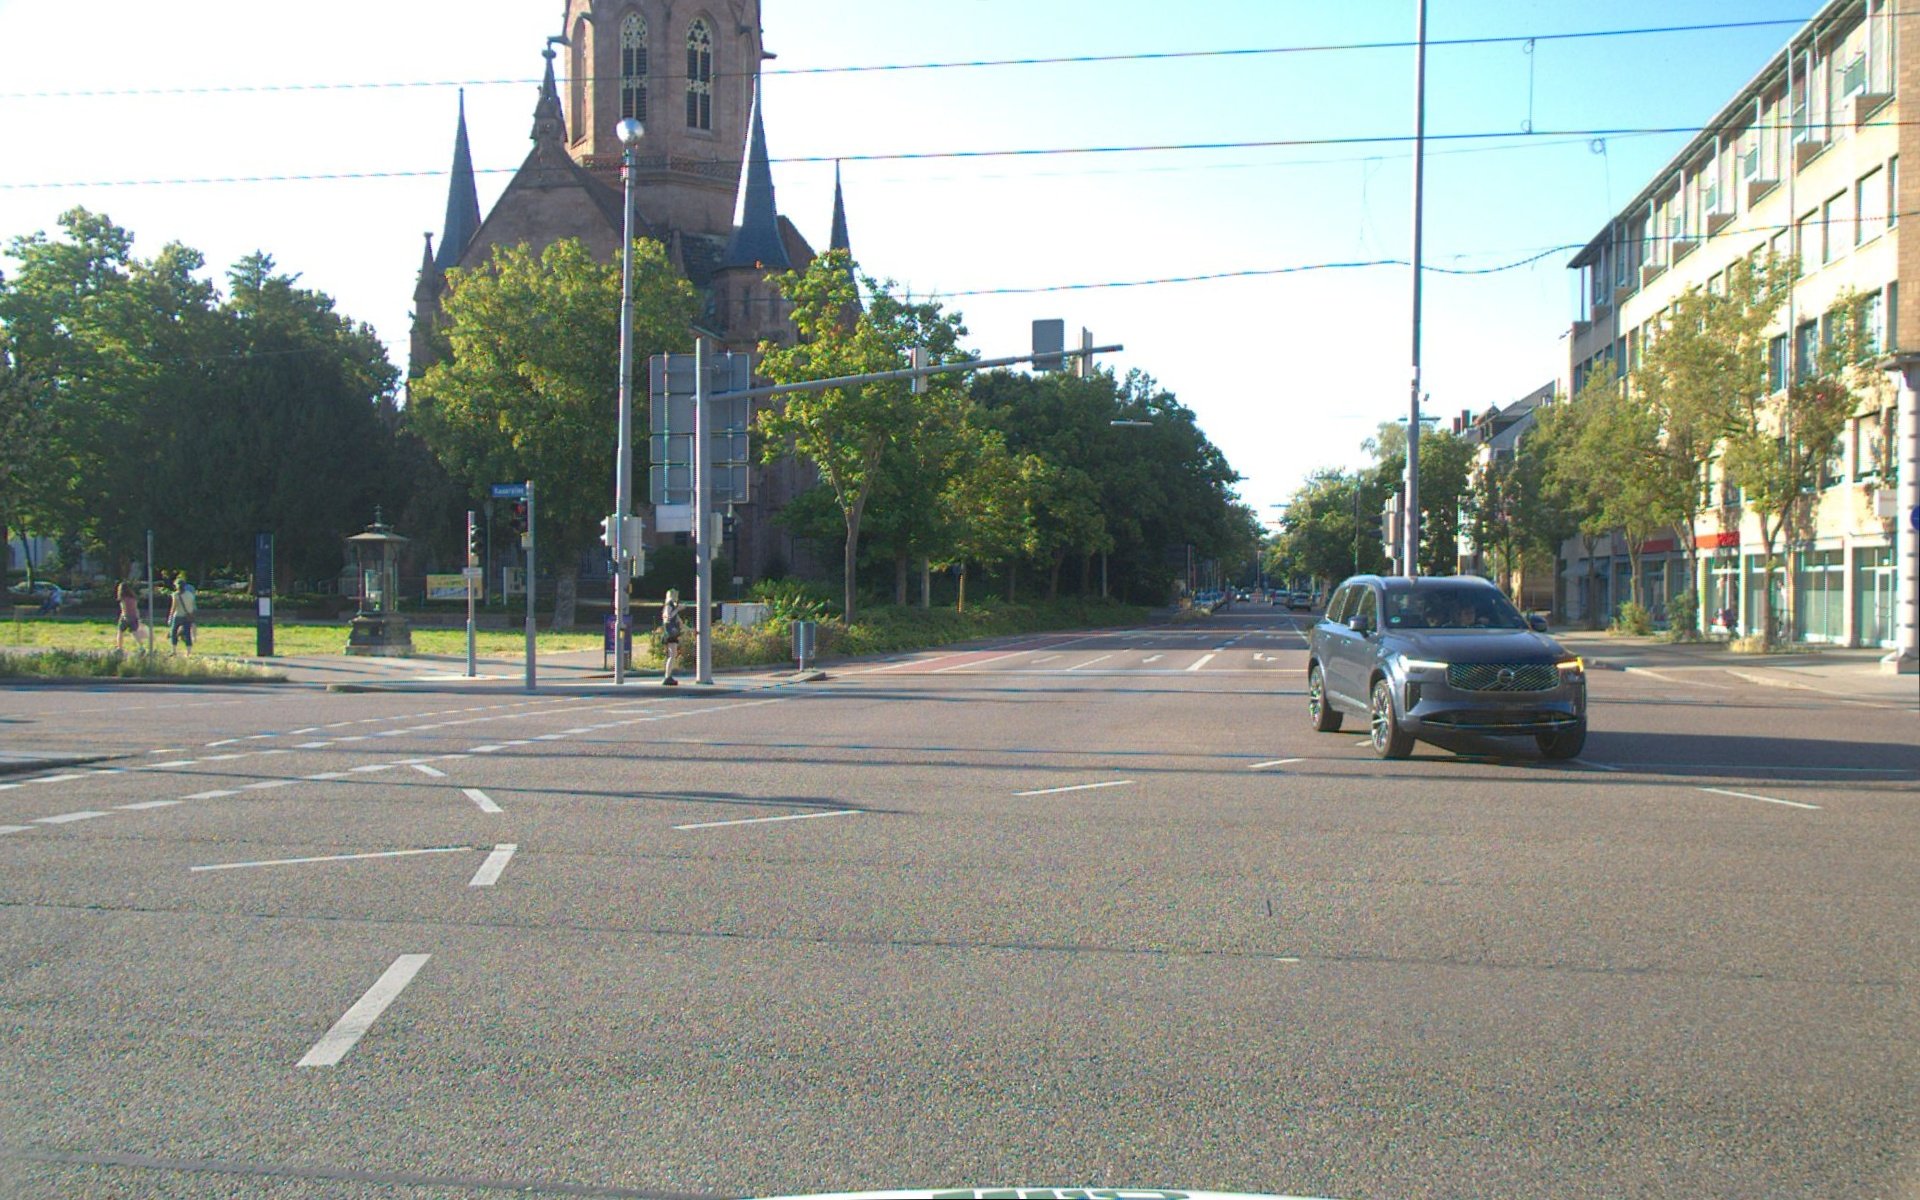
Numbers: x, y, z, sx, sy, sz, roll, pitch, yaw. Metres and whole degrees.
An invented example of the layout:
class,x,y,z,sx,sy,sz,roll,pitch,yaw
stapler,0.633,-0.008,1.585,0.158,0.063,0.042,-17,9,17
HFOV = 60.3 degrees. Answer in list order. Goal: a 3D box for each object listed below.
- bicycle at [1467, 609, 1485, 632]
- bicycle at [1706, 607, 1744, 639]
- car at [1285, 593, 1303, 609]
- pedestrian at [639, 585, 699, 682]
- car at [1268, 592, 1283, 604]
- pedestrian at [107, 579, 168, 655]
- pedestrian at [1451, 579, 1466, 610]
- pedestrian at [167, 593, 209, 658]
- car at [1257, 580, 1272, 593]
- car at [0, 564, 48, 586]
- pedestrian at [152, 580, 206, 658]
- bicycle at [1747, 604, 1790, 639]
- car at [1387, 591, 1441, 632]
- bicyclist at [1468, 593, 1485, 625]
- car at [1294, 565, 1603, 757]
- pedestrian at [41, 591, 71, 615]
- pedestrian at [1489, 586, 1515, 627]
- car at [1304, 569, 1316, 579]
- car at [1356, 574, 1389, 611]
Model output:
class,x,y,z,sx,sy,sz,roll,pitch,yaw
bicycle,23.695,0.941,75.972,0.579,0.959,1.980,2,2,11
bicycle,25.317,0.765,54.747,0.632,1.012,2.083,0,0,10
car,29.032,0.089,143.816,1.560,1.289,3.269,0,1,11
pedestrian,-5.402,0.604,30.745,0.792,1.769,0.969,0,0,12
car,34.027,-0.205,178.547,1.560,1.289,3.269,0,1,11
pedestrian,-19.214,0.380,38.631,0.995,1.726,0.843,2,1,31
pedestrian,30.235,-0.325,100.330,0.829,1.835,0.776,0,1,11
pedestrian,-21.154,0.695,45.331,1.002,1.726,0.837,1,1,-28
car,40.721,-1.784,221.112,1.846,1.700,4.004,2,1,11
car,-70.375,-1.822,122.585,4.359,1.599,2.000,0,0,-1
pedestrian,-17.760,0.431,37.615,0.876,1.726,0.709,2,1,31
bicycle,24.468,0.631,50.077,0.632,1.012,2.083,0,0,10
car,19.686,0.470,71.857,1.876,1.635,4.273,2,1,11
bicyclist,23.705,0.403,75.944,0.579,1.392,0.931,2,1,11
car,4.977,0.567,17.654,1.952,1.754,5.032,0,0,2
pedestrian,-38.531,0.136,70.488,0.787,0.970,1.171,1,1,-10
pedestrian,26.722,0.308,81.568,1.084,2.010,1.162,0,0,11
car,47.350,-3.507,223.965,1.560,1.289,3.269,0,1,11
car,28.688,-0.516,115.030,1.951,2.483,4.004,1,1,11
